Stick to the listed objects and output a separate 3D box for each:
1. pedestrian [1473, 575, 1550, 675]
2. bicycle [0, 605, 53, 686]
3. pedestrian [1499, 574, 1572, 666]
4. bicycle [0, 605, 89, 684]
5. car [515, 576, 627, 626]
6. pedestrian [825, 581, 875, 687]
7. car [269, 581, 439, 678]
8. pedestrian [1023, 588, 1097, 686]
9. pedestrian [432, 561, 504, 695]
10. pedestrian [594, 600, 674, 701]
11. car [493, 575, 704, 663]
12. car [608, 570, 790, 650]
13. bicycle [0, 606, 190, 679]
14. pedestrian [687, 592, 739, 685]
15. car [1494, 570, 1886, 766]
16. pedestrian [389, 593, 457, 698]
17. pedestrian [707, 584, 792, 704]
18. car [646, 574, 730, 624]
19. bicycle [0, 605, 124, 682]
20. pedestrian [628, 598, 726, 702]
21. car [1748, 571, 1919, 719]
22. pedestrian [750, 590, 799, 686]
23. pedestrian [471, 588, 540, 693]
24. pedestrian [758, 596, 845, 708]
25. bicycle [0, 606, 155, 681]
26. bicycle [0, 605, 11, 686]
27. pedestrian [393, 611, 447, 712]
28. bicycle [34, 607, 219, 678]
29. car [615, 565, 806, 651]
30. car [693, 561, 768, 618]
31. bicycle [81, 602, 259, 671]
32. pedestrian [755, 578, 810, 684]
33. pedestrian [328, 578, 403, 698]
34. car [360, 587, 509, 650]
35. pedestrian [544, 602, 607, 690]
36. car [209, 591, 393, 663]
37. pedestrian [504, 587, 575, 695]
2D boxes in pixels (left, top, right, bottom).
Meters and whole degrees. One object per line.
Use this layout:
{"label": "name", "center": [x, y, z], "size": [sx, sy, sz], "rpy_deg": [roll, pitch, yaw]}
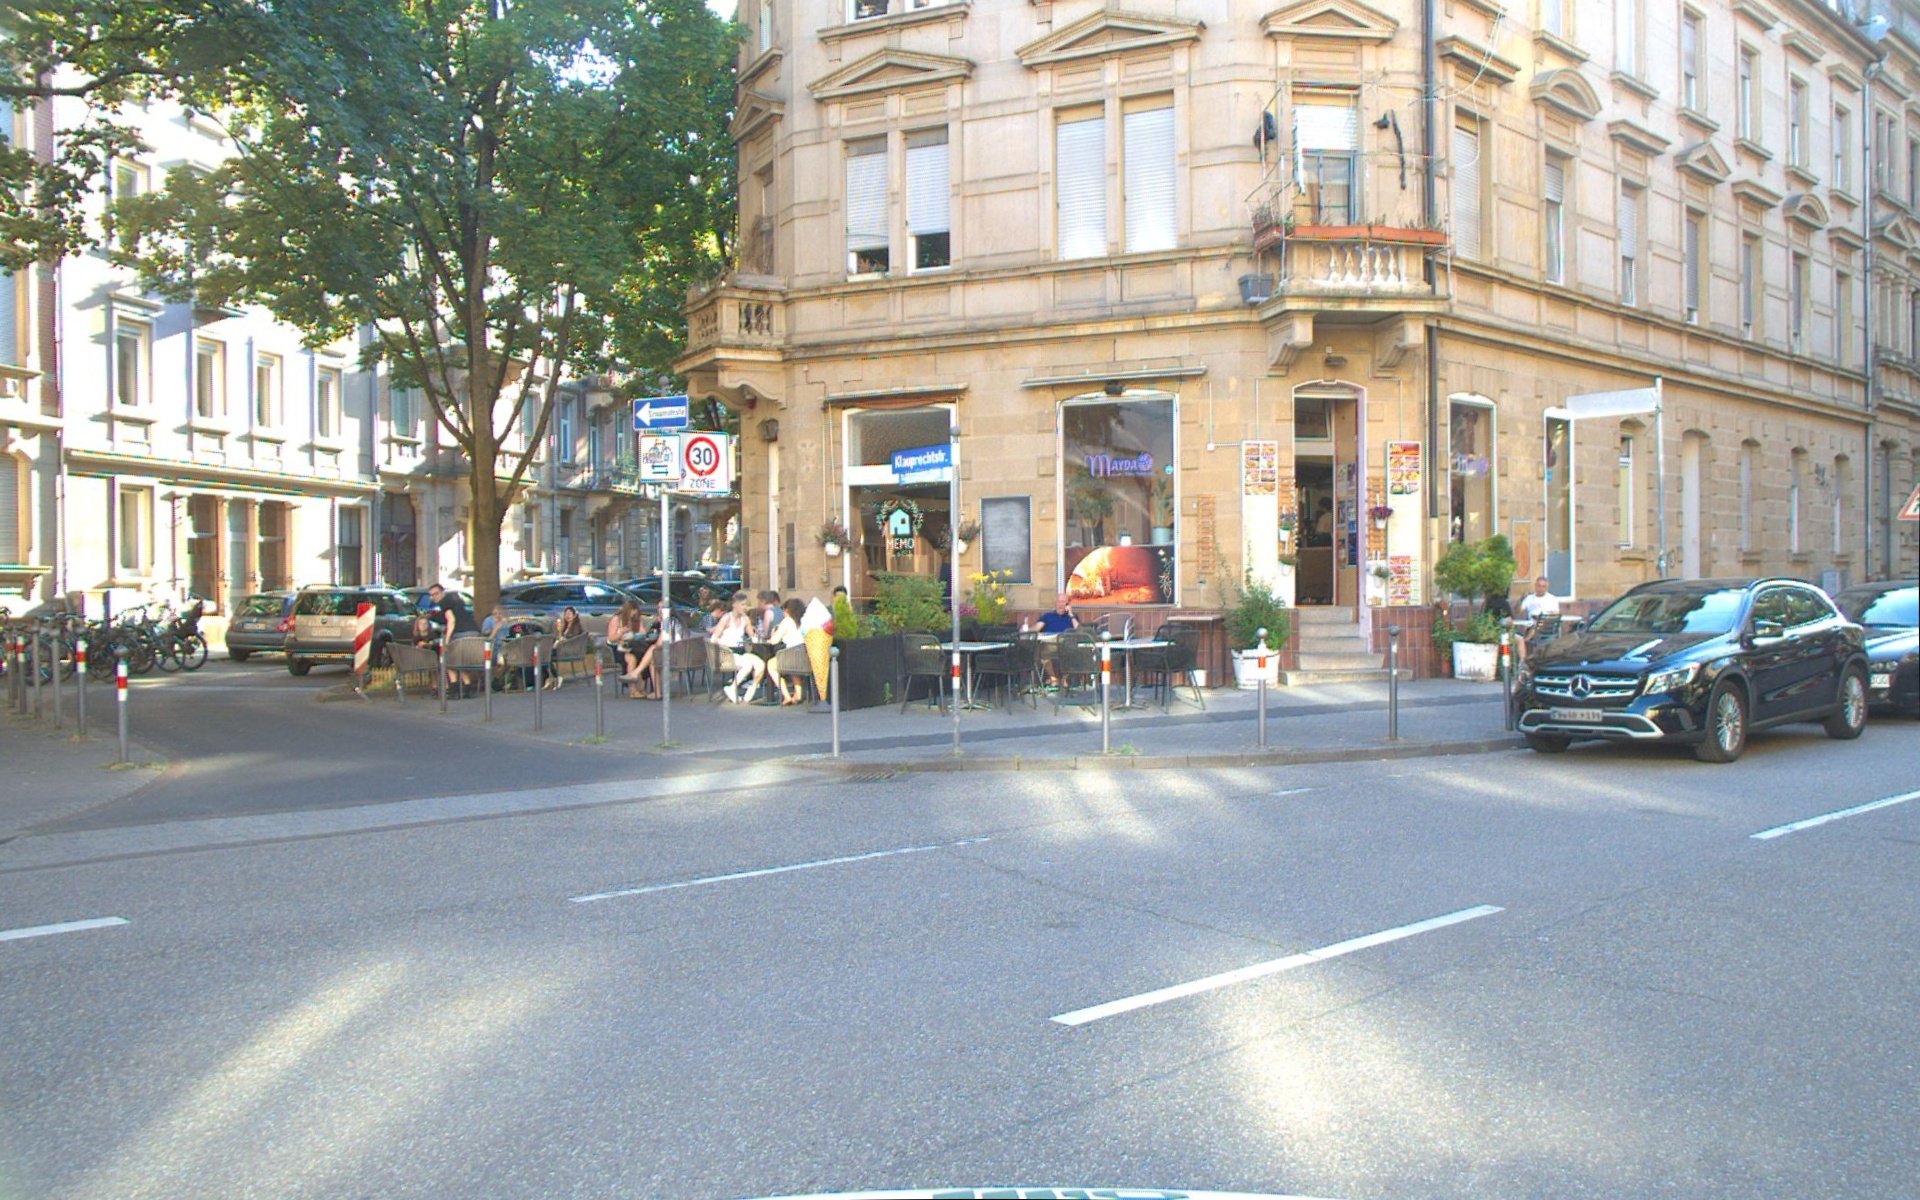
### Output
{"label": "pedestrian", "center": [7.319, 0.319, 21.946], "size": [0.715, 1.281, 0.752], "rpy_deg": [-1, 1, 42]}
{"label": "bicycle", "center": [-15.511, 0.696, 25.284], "size": [3.060, 1.201, 0.753], "rpy_deg": [-1, 0, 9]}
{"label": "pedestrian", "center": [7.971, 0.264, 22.912], "size": [0.715, 1.235, 0.752], "rpy_deg": [0, 1, 42]}
{"label": "bicycle", "center": [-15.365, 0.703, 26.062], "size": [3.060, 1.201, 0.753], "rpy_deg": [-1, 0, 9]}
{"label": "car", "center": [-11.447, 0.009, 48.934], "size": [1.882, 1.400, 3.755], "rpy_deg": [-1, 1, 10]}
{"label": "pedestrian", "center": [-1.473, 0.444, 22.149], "size": [0.472, 1.391, 0.432], "rpy_deg": [-1, 1, 36]}
{"label": "car", "center": [-11.556, 0.518, 31.838], "size": [1.954, 1.713, 3.998], "rpy_deg": [-1, 1, -3]}
{"label": "pedestrian", "center": [1.293, 0.470, 21.357], "size": [0.711, 1.235, 0.756], "rpy_deg": [-1, 0, 25]}
{"label": "pedestrian", "center": [-6.758, 0.377, 22.710], "size": [0.758, 1.801, 0.565], "rpy_deg": [-2, 0, -34]}
{"label": "pedestrian", "center": [-4.285, 0.645, 21.722], "size": [0.694, 1.270, 0.745], "rpy_deg": [0, 1, 42]}
{"label": "car", "center": [-7.000, 0.333, 32.011], "size": [3.769, 1.589, 1.792], "rpy_deg": [-1, 1, -22]}
{"label": "car", "center": [-6.039, 0.206, 38.112], "size": [3.923, 1.713, 1.991], "rpy_deg": [-1, 0, -17]}
{"label": "bicycle", "center": [-14.918, 0.733, 28.512], "size": [3.060, 1.201, 0.753], "rpy_deg": [-1, 0, 9]}
{"label": "pedestrian", "center": [-3.453, 0.525, 23.120], "size": [0.473, 1.270, 0.507], "rpy_deg": [-1, 1, 42]}
{"label": "car", "center": [6.727, 0.525, 15.051], "size": [4.104, 1.514, 1.737], "rpy_deg": [-1, 0, -42]}
{"label": "pedestrian", "center": [-7.627, 0.638, 23.485], "size": [0.757, 1.437, 0.661], "rpy_deg": [-2, 0, -32]}
{"label": "pedestrian", "center": [-2.598, 0.528, 20.425], "size": [0.741, 1.435, 0.726], "rpy_deg": [-1, 0, 32]}
{"label": "car", "center": [-9.668, -0.049, 59.056], "size": [1.768, 1.713, 3.755], "rpy_deg": [-1, 1, 10]}
{"label": "bicycle", "center": [-15.234, 0.713, 26.884], "size": [3.060, 1.201, 0.753], "rpy_deg": [-1, 0, 9]}
{"label": "pedestrian", "center": [-3.617, 0.624, 21.128], "size": [1.006, 1.270, 0.745], "rpy_deg": [0, 1, 42]}
{"label": "car", "center": [10.741, 0.418, 18.601], "size": [4.509, 1.477, 1.738], "rpy_deg": [-1, 0, -41]}
{"label": "pedestrian", "center": [-2.529, 0.513, 22.518], "size": [0.473, 1.270, 0.431], "rpy_deg": [-1, 1, 42]}
{"label": "pedestrian", "center": [-6.614, 0.580, 24.059], "size": [0.758, 1.467, 0.660], "rpy_deg": [-2, 0, -34]}
{"label": "pedestrian", "center": [-1.916, 0.616, 19.970], "size": [0.730, 1.312, 0.740], "rpy_deg": [-1, 0, 34]}
{"label": "bicycle", "center": [-15.111, 0.722, 27.688], "size": [3.060, 1.201, 0.753], "rpy_deg": [-1, 0, 9]}
{"label": "bicycle", "center": [-15.674, 0.694, 24.450], "size": [3.060, 1.201, 0.753], "rpy_deg": [-1, 0, 9]}
{"label": "pedestrian", "center": [-7.428, 0.831, 22.746], "size": [0.565, 1.343, 0.499], "rpy_deg": [-2, 1, -35]}
{"label": "bicycle", "center": [-14.783, 0.743, 29.348], "size": [3.060, 1.201, 0.753], "rpy_deg": [-1, 0, 9]}
{"label": "car", "center": [-5.296, 0.153, 35.513], "size": [3.911, 1.713, 1.997], "rpy_deg": [-1, 0, -7]}
{"label": "car", "center": [-8.893, -0.420, 64.292], "size": [1.768, 2.121, 3.755], "rpy_deg": [-1, 1, 10]}
{"label": "bicycle", "center": [-14.545, 0.668, 30.468], "size": [3.060, 1.201, 0.753], "rpy_deg": [-1, 0, 9]}
{"label": "pedestrian", "center": [-2.499, 0.432, 23.324], "size": [0.558, 1.456, 0.481], "rpy_deg": [-1, 1, 34]}
{"label": "pedestrian", "center": [-8.632, 0.548, 24.019], "size": [0.656, 1.699, 0.762], "rpy_deg": [-2, 0, 42]}
{"label": "car", "center": [-12.582, 0.422, 39.858], "size": [1.882, 1.400, 3.755], "rpy_deg": [-1, 1, 10]}
{"label": "pedestrian", "center": [-5.609, 0.667, 24.103], "size": [0.670, 1.237, 0.660], "rpy_deg": [-2, 0, -35]}
{"label": "car", "center": [-13.747, 0.528, 34.732], "size": [1.882, 1.400, 3.755], "rpy_deg": [-1, 1, 10]}
{"label": "pedestrian", "center": [-5.918, 0.569, 23.274], "size": [0.758, 1.467, 0.660], "rpy_deg": [-2, 0, -34]}
